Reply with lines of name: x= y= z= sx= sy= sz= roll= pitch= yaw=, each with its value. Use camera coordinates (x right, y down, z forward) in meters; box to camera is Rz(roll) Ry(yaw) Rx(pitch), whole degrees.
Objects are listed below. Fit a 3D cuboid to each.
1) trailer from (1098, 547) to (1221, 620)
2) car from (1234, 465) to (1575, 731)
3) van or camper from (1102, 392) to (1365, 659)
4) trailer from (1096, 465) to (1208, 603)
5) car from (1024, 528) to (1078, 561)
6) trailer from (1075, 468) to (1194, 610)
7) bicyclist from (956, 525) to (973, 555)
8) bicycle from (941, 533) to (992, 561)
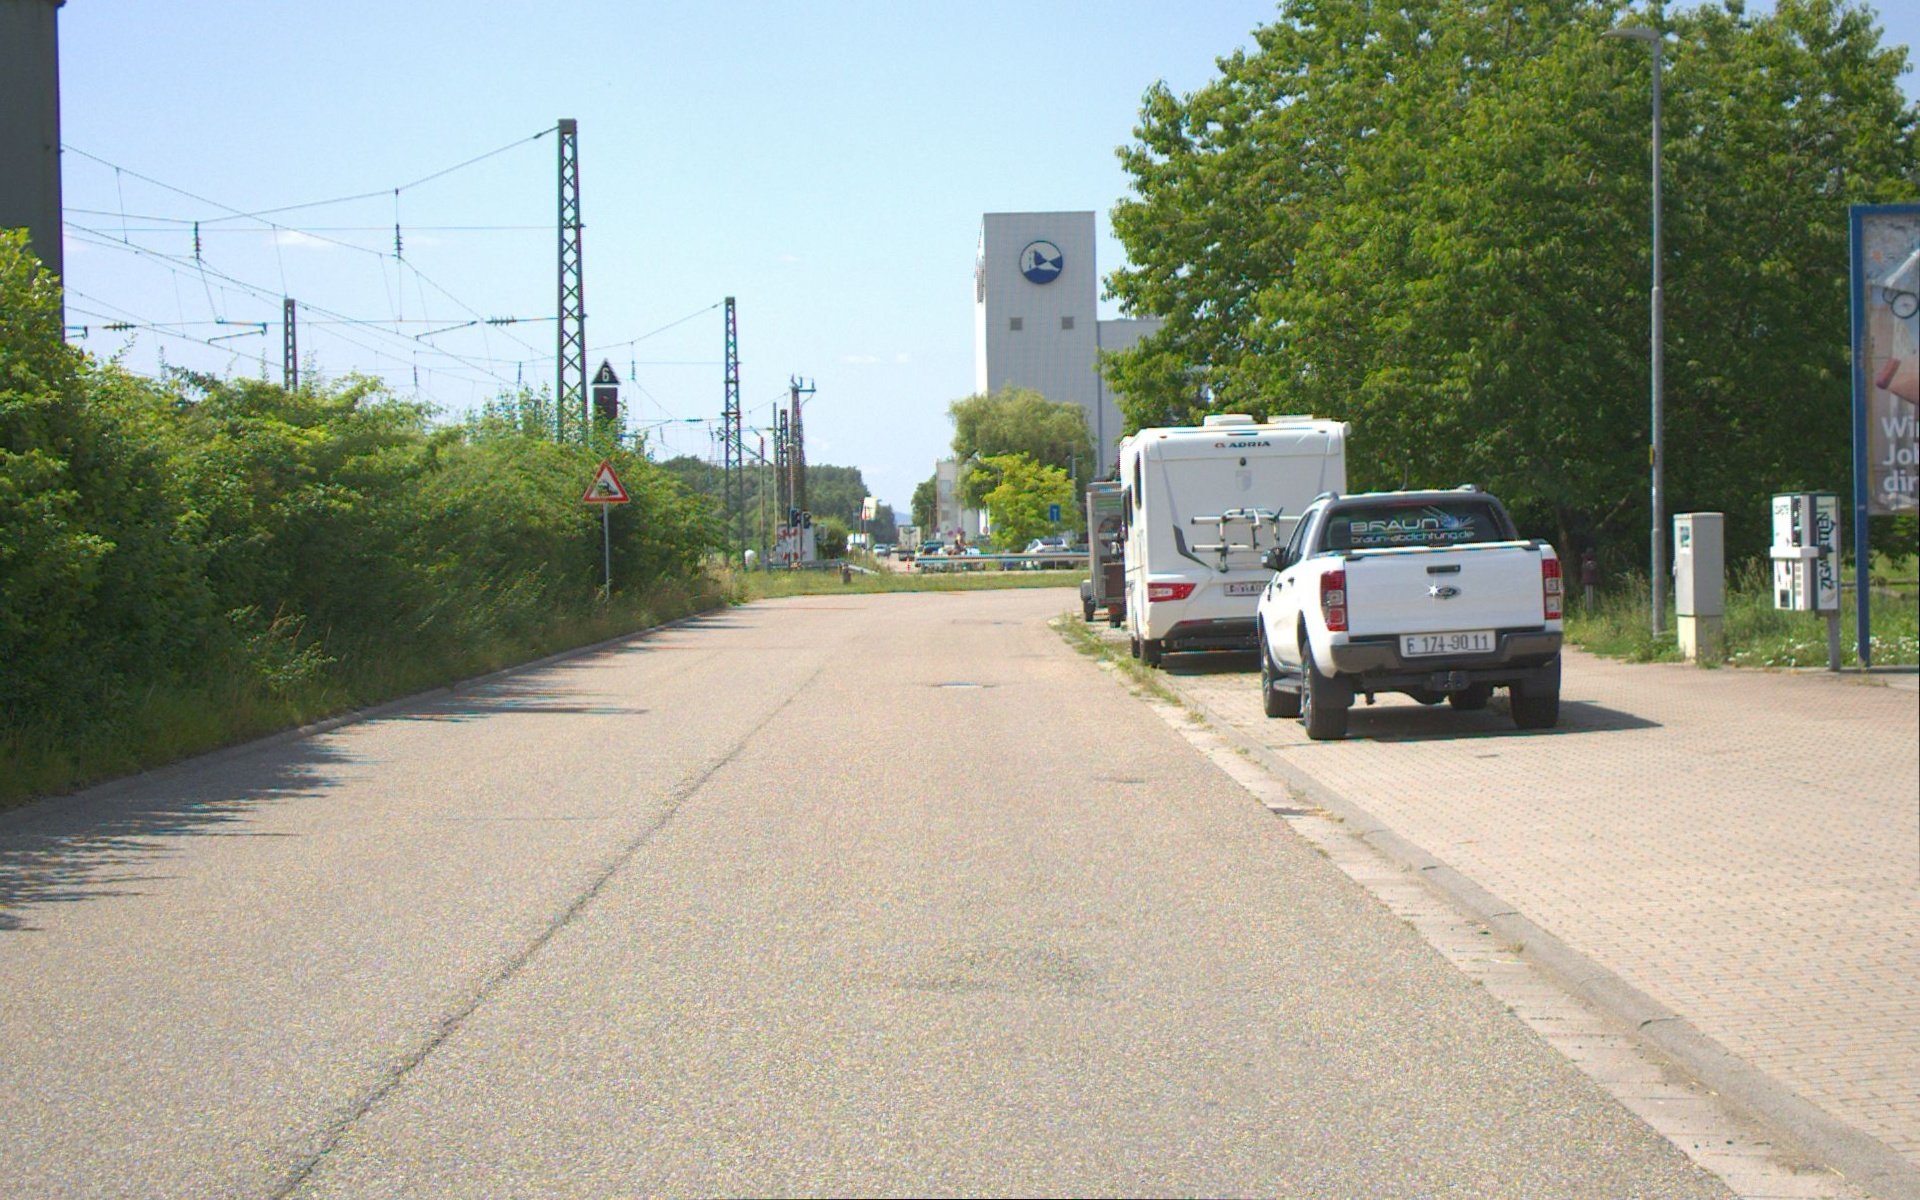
trailer: x=3.473 y=-0.305 z=60.196 sx=2.005 sy=1.119 sz=4.488 roll=-3 pitch=0 yaw=3
car: x=3.360 y=-0.068 z=27.004 sx=1.847 sy=1.808 sz=5.425 roll=-2 pitch=1 yaw=-1
van or camper: x=3.153 y=-0.890 z=41.439 sx=2.439 sy=2.817 sz=7.624 roll=-2 pitch=1 yaw=0
trailer: x=4.000 y=-1.371 z=70.765 sx=1.933 sy=2.635 sz=5.183 roll=-3 pitch=1 yaw=6
car: x=4.322 y=-2.667 z=163.511 sx=1.993 sy=1.504 sz=4.455 roll=-1 pitch=1 yaw=-6
trailer: x=3.287 y=-1.172 z=65.616 sx=1.919 sy=2.499 sz=4.741 roll=-3 pitch=1 yaw=0
bicyclist: x=0.202 y=-2.504 z=143.842 sx=0.511 sy=1.251 sz=0.468 roll=0 pitch=2 yaw=34
bicycle: x=0.263 y=-2.212 z=143.825 sx=2.143 sy=1.161 sz=0.660 roll=0 pitch=2 yaw=34
